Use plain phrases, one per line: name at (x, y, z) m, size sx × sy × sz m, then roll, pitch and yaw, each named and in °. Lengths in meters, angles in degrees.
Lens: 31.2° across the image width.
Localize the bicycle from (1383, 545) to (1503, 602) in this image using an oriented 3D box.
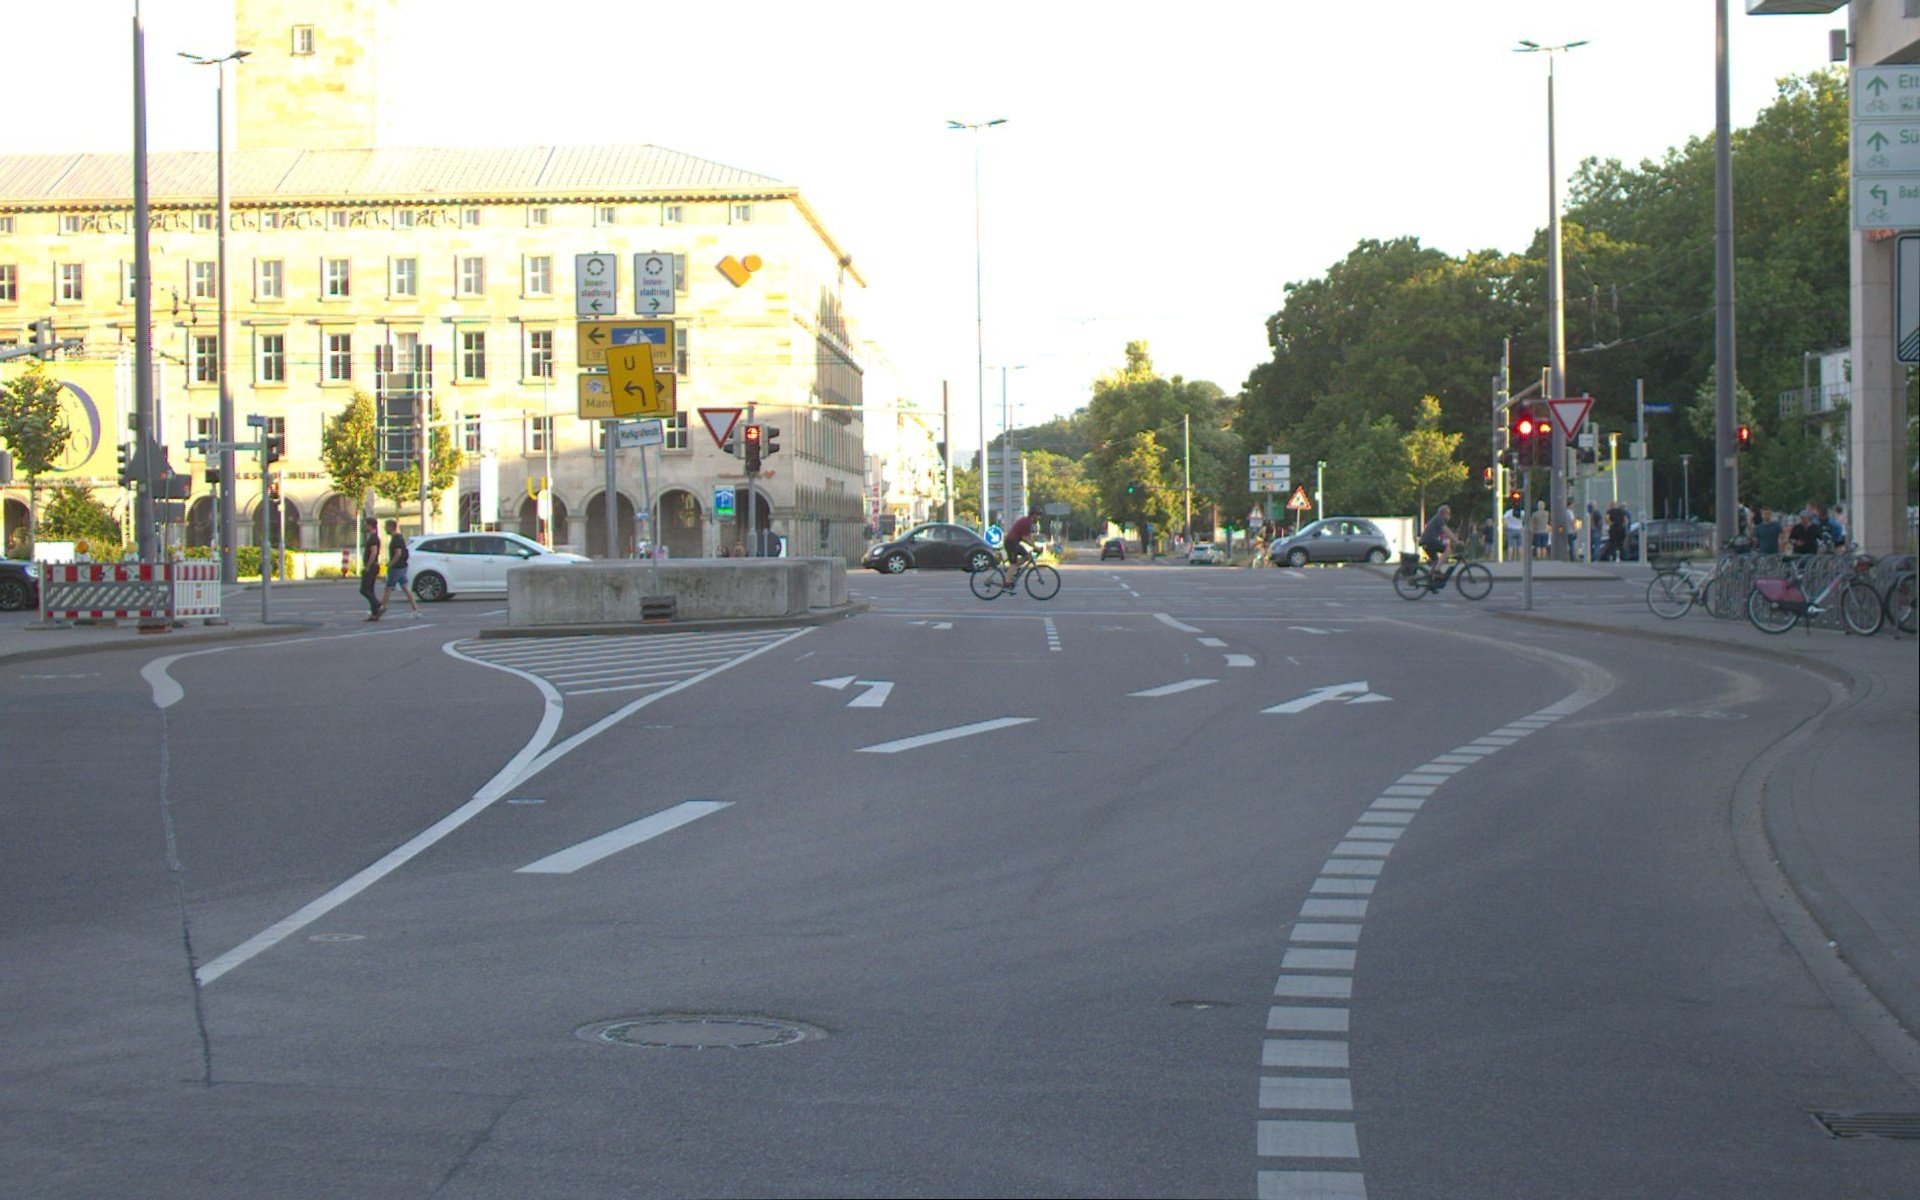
bicycle at (9.290, -0.516, 66.171) m, size 2.242 × 1.058 × 0.653 m, roll -1°, pitch 1°, yaw 3°

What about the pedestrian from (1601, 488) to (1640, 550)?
pedestrian at (18.467, -2.273, 96.132) m, size 0.808 × 1.724 × 0.688 m, roll -1°, pitch 1°, yaw -23°

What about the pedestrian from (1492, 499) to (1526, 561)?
pedestrian at (15.296, -1.958, 95.812) m, size 0.808 × 1.724 × 0.688 m, roll -1°, pitch 1°, yaw 0°

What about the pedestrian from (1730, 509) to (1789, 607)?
pedestrian at (14.918, -0.787, 64.141) m, size 0.860 × 1.771 × 0.741 m, roll -3°, pitch 1°, yaw 3°

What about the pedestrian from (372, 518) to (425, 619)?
pedestrian at (-10.195, -0.575, 62.463) m, size 0.738 × 1.771 × 0.863 m, roll -3°, pitch 1°, yaw -1°

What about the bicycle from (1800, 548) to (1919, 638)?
bicycle at (11.919, -0.091, 44.655) m, size 1.871 × 1.109 × 0.570 m, roll 2°, pitch 1°, yaw 5°

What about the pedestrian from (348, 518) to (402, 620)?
pedestrian at (-10.473, -0.556, 61.533) m, size 0.738 × 1.771 × 0.863 m, roll -3°, pitch 1°, yaw -1°

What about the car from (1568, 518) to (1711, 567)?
car at (20.588, -1.754, 104.222) m, size 3.974 × 1.448 × 1.546 m, roll -1°, pitch 1°, yaw -9°

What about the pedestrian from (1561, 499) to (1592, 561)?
pedestrian at (17.358, -1.975, 96.860) m, size 0.809 × 1.724 × 0.687 m, roll 0°, pitch 1°, yaw 14°

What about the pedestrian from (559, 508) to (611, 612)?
pedestrian at (-6.449, -0.699, 59.146) m, size 0.738 × 1.771 × 0.864 m, roll 0°, pitch 1°, yaw -17°

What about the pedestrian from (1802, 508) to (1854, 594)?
pedestrian at (17.623, -0.994, 69.798) m, size 0.893 × 1.724 × 0.688 m, roll 0°, pitch 1°, yaw 2°

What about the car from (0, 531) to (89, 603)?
car at (-21.042, -0.700, 73.175) m, size 4.460 × 1.490 × 2.128 m, roll -1°, pitch 1°, yaw -2°

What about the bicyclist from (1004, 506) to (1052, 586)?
bicyclist at (1.311, -1.038, 66.196) m, size 0.879 × 1.525 × 0.653 m, roll -1°, pitch 1°, yaw 3°

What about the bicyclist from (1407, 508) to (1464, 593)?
bicyclist at (9.152, -0.949, 66.169) m, size 1.020 × 1.615 × 0.653 m, roll -1°, pitch 1°, yaw 3°

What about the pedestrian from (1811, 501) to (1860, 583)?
pedestrian at (18.531, -1.229, 72.789) m, size 0.893 × 1.724 × 0.688 m, roll 0°, pitch 1°, yaw 4°

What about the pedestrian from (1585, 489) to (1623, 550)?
pedestrian at (18.289, -2.284, 97.563) m, size 0.685 × 1.724 × 0.811 m, roll -1°, pitch 1°, yaw -31°

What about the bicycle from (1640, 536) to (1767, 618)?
bicycle at (11.133, -0.342, 51.479) m, size 1.819 × 1.208 × 0.570 m, roll 0°, pitch 1°, yaw 17°

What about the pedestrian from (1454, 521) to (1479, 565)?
pedestrian at (19.677, -2.216, 133.615) m, size 0.808 × 1.724 × 0.929 m, roll 0°, pitch 1°, yaw 0°

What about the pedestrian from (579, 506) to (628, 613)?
pedestrian at (-6.045, -0.687, 58.273) m, size 0.738 × 1.771 × 0.864 m, roll -2°, pitch 1°, yaw -8°

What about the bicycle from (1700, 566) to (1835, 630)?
bicycle at (11.990, -0.032, 51.067) m, size 1.867 × 0.933 × 0.516 m, roll -1°, pitch 1°, yaw 0°

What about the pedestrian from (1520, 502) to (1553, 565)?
pedestrian at (16.081, -1.859, 95.884) m, size 0.808 × 1.724 × 0.688 m, roll -1°, pitch 1°, yaw 0°

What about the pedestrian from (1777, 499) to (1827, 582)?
pedestrian at (17.550, -1.244, 71.683) m, size 0.893 × 1.724 × 0.688 m, roll 0°, pitch 1°, yaw 4°

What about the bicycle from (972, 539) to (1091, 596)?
bicycle at (1.380, -0.630, 66.204) m, size 2.242 × 1.058 × 0.653 m, roll -1°, pitch 1°, yaw 3°

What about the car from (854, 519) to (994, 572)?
car at (-1.070, -1.612, 100.997) m, size 3.986 × 1.489 × 1.829 m, roll -1°, pitch 1°, yaw -5°

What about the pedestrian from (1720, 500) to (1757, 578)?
pedestrian at (17.329, -1.358, 76.515) m, size 0.692 × 1.724 × 0.741 m, roll 0°, pitch 1°, yaw 3°

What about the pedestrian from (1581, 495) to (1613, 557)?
pedestrian at (17.788, -2.058, 95.985) m, size 0.809 × 1.724 × 0.687 m, roll 0°, pitch 1°, yaw 14°

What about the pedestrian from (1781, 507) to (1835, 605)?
pedestrian at (15.767, -0.822, 63.946) m, size 0.756 × 1.771 × 0.741 m, roll -3°, pitch 1°, yaw 3°

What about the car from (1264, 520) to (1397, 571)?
car at (11.061, -1.635, 102.756) m, size 3.713 × 1.448 × 1.546 m, roll -1°, pitch 1°, yaw -5°

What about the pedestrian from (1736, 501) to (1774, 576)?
pedestrian at (18.303, -1.417, 79.149) m, size 0.836 × 1.724 × 0.687 m, roll 0°, pitch 1°, yaw 14°

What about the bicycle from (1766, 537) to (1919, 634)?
bicycle at (11.919, -0.196, 46.434) m, size 1.867 × 1.255 × 0.673 m, roll 1°, pitch 1°, yaw 0°

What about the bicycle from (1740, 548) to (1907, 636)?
bicycle at (10.464, -0.098, 41.685) m, size 1.898 × 1.044 × 0.570 m, roll 0°, pitch 1°, yaw 7°

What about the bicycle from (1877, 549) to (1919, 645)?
bicycle at (11.721, -0.015, 40.256) m, size 1.817 × 1.096 × 0.600 m, roll 2°, pitch 1°, yaw 9°

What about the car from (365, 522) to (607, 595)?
car at (-10.008, -0.888, 72.855) m, size 4.797 × 1.490 × 2.128 m, roll -1°, pitch 1°, yaw 1°

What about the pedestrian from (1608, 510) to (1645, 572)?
pedestrian at (18.827, -1.667, 97.088) m, size 0.685 × 1.724 × 0.811 m, roll -1°, pitch 1°, yaw -24°
